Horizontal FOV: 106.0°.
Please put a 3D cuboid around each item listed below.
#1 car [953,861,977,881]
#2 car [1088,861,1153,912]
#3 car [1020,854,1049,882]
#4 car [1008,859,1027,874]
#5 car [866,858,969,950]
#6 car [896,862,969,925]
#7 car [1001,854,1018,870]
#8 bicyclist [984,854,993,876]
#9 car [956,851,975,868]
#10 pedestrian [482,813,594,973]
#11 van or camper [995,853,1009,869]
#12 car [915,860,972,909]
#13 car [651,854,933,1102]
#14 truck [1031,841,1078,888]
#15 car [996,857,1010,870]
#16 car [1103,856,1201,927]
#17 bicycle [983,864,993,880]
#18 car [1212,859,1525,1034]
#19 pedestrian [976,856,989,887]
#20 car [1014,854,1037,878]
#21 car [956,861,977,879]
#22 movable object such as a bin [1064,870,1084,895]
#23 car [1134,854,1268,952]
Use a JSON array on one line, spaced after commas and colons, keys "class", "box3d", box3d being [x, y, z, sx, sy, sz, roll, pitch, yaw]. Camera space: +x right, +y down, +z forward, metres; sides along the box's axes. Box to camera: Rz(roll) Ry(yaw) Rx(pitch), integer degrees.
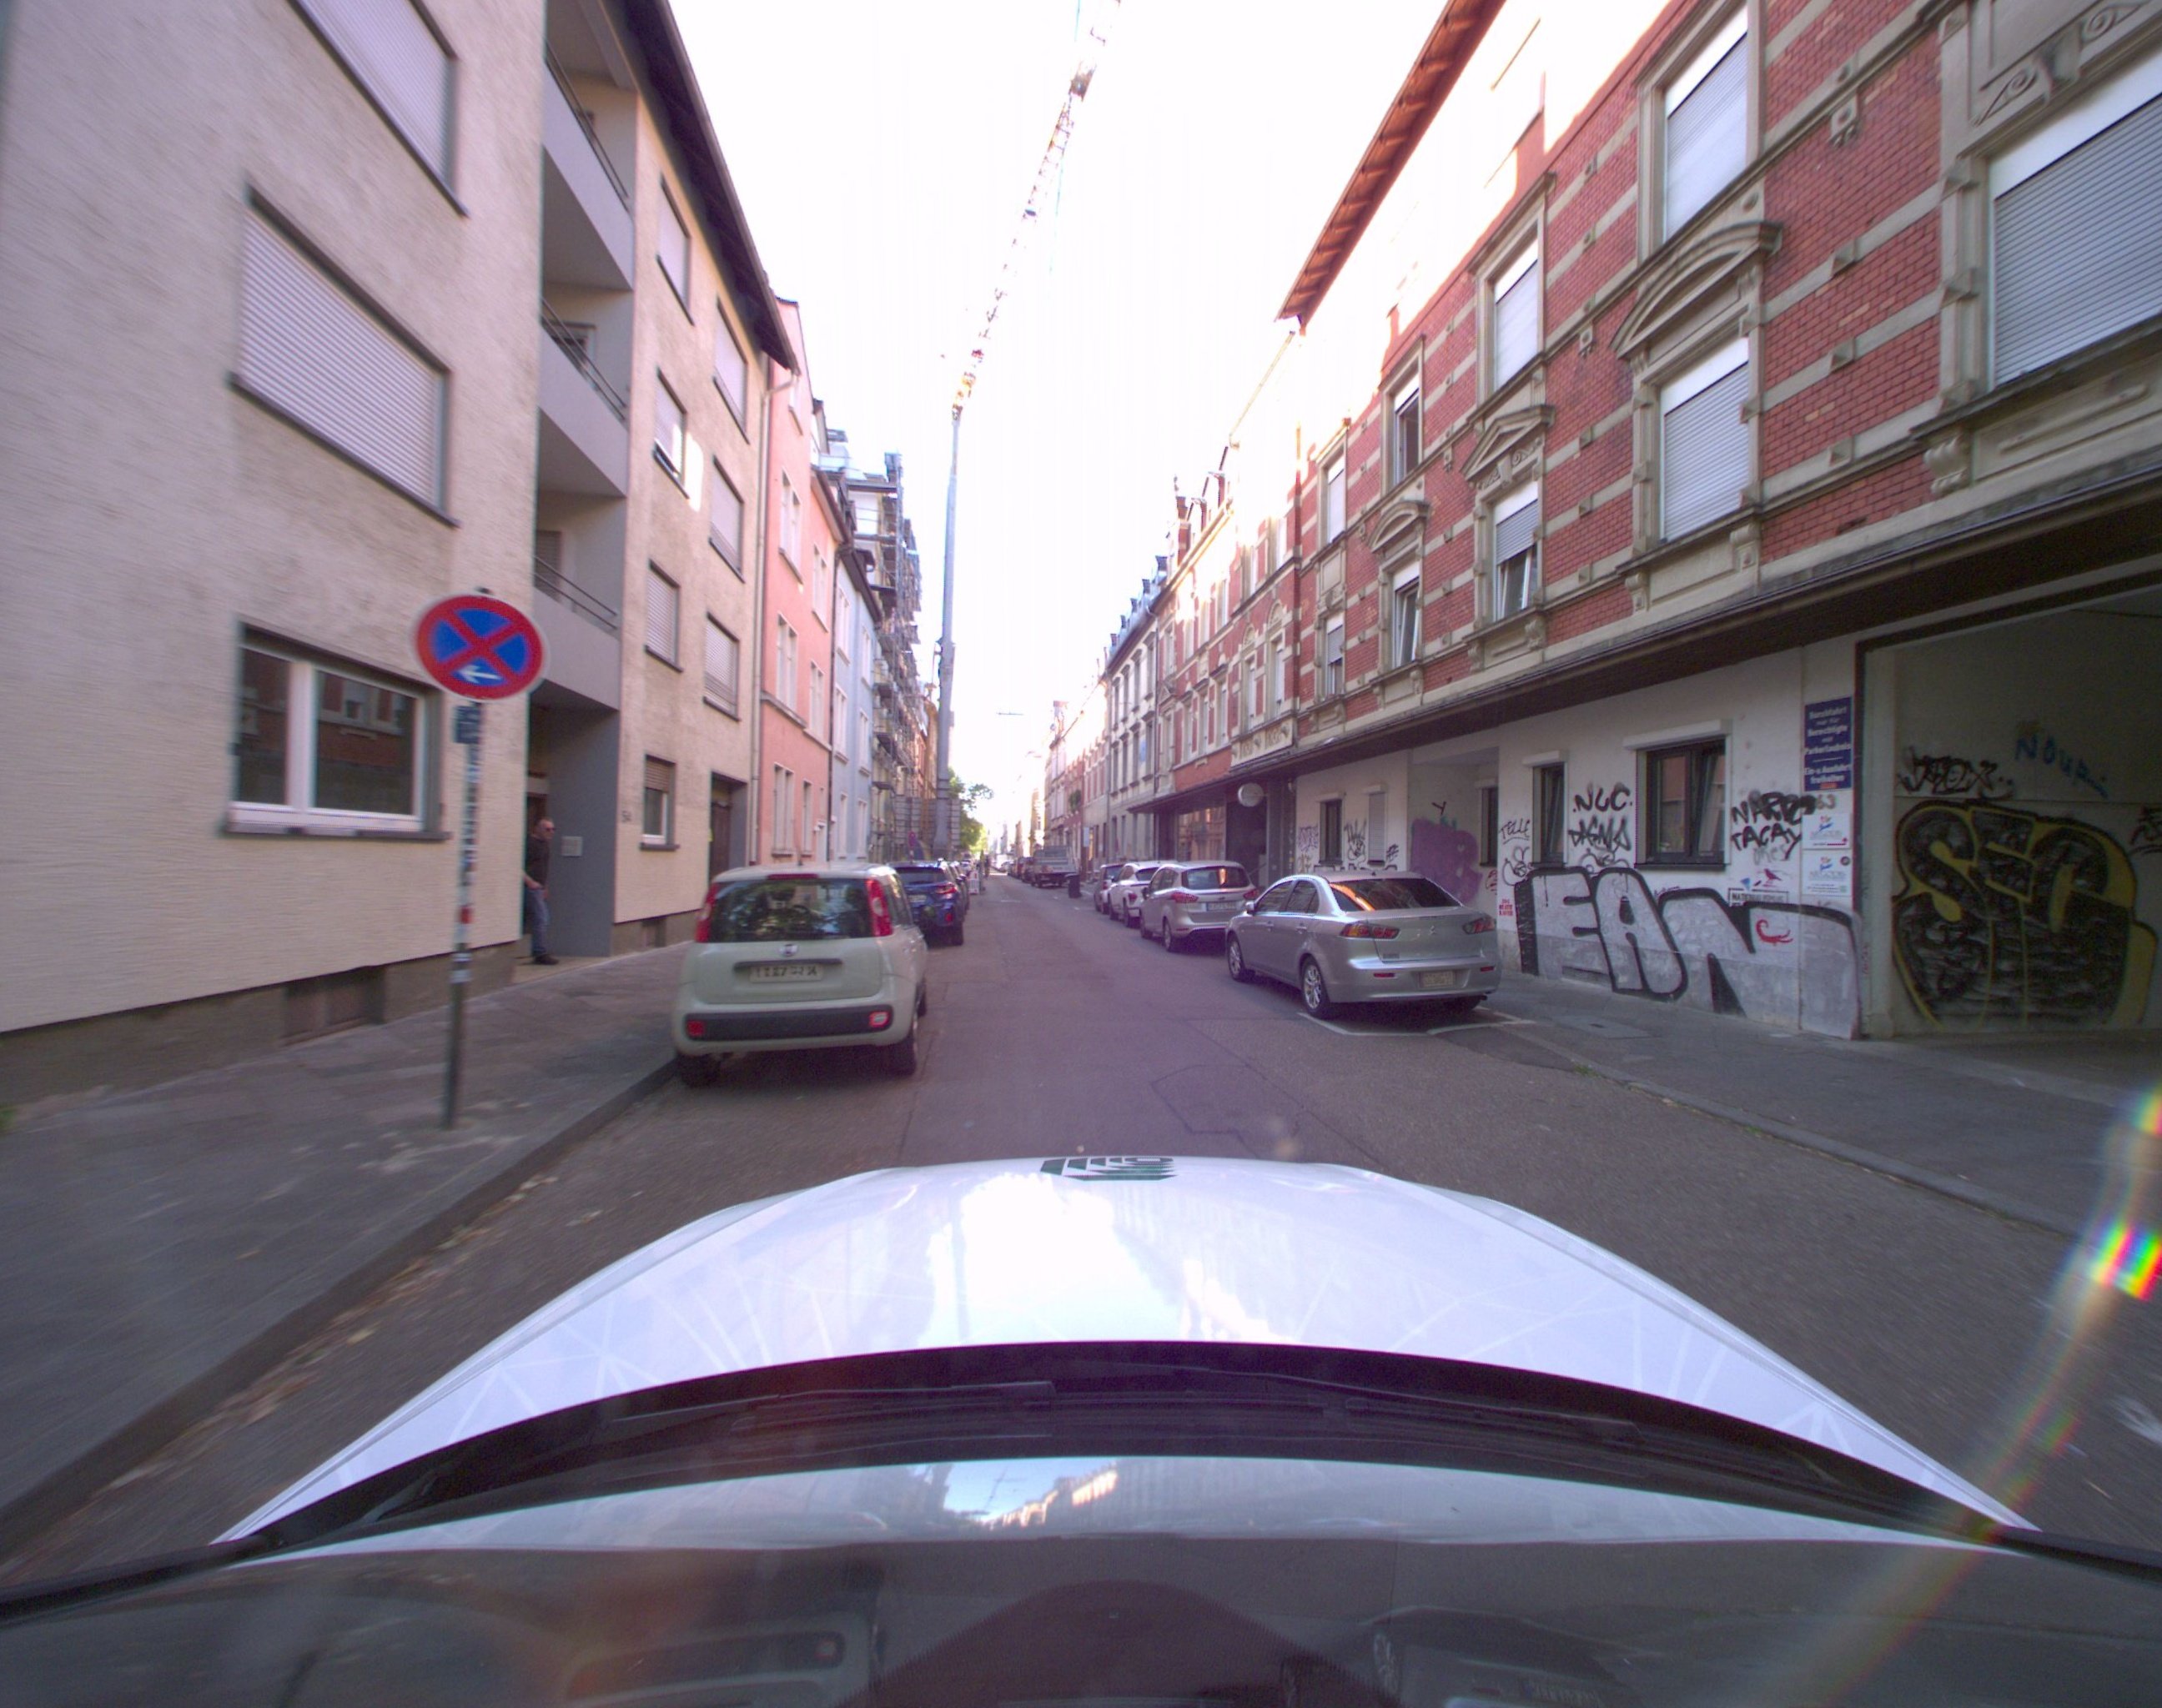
[{"class": "car", "box3d": [-8.531, 1.241, 59.625, 1.675, 1.445, 3.856, 0, -1, -10]}, {"class": "car", "box3d": [1.222, 0.995, 26.574, 1.594, 1.560, 3.806, 0, -1, -6]}, {"class": "car", "box3d": [-3.369, 0.990, 58.688, 1.675, 1.963, 4.095, 0, -1, -10]}, {"class": "car", "box3d": [-6.603, 1.292, 84.400, 1.675, 1.571, 3.856, 0, -1, -10]}, {"class": "car", "box3d": [-3.172, 0.871, 16.197, 1.729, 1.540, 4.363, -1, -1, -10]}, {"class": "car", "box3d": [-3.871, 0.980, 21.783, 1.673, 1.512, 4.403, 0, -1, -8]}, {"class": "car", "box3d": [-9.558, 1.036, 108.760, 1.993, 2.014, 3.988, 1, 0, -9]}, {"class": "bicyclist", "box3d": [-7.362, 0.858, 64.736, 0.729, 1.761, 0.833, 1, 0, -7]}, {"class": "car", "box3d": [-11.145, 0.561, 78.395, 1.675, 1.571, 3.856, 0, -1, -10]}, {"class": "pedestrian", "box3d": [-6.501, 0.447, 9.797, 0.906, 1.839, 0.671, 0, -1, -7]}, {"class": "van or camper", "box3d": [-13.317, 1.173, 136.895, 1.995, 2.508, 4.185, 0, 0, -12]}, {"class": "car", "box3d": [-4.462, 0.952, 26.968, 1.673, 1.477, 4.595, 0, -1, -8]}, {"class": "car", "box3d": [-2.186, 0.798, 7.157, 1.675, 1.540, 3.856, 0, -1, -10]}, {"class": "truck", "box3d": [-1.660, 0.585, 48.358, 2.189, 2.607, 5.218, 0, 0, -8]}, {"class": "car", "box3d": [-11.739, 1.451, 122.343, 1.993, 1.849, 3.988, 0, 0, -9]}, {"class": "car", "box3d": [1.743, 0.907, 21.331, 1.744, 1.675, 4.330, 0, -1, -6]}, {"class": "bicycle", "box3d": [-7.383, 1.390, 64.759, 0.724, 1.186, 2.037, 2, 0, -7]}, {"class": "car", "box3d": [3.028, 0.859, 9.679, 1.720, 1.562, 4.387, 1, 0, -7]}, {"class": "pedestrian", "box3d": [-5.638, 1.019, 46.629, 0.657, 1.733, 0.718, -1, -1, -8]}, {"class": "car", "box3d": [-4.882, 1.013, 71.063, 1.675, 2.031, 3.856, 0, -1, -10]}, {"class": "car", "box3d": [-9.607, 1.301, 68.353, 1.675, 1.445, 3.856, 0, -1, -10]}, {"class": "movable object such as a bin", "box3d": [-0.314, 1.261, 36.191, 0.794, 1.056, 0.658, 1, -1, -8]}, {"class": "car", "box3d": [2.166, 0.863, 15.754, 1.638, 1.656, 3.860, 1, -1, -6]}]
